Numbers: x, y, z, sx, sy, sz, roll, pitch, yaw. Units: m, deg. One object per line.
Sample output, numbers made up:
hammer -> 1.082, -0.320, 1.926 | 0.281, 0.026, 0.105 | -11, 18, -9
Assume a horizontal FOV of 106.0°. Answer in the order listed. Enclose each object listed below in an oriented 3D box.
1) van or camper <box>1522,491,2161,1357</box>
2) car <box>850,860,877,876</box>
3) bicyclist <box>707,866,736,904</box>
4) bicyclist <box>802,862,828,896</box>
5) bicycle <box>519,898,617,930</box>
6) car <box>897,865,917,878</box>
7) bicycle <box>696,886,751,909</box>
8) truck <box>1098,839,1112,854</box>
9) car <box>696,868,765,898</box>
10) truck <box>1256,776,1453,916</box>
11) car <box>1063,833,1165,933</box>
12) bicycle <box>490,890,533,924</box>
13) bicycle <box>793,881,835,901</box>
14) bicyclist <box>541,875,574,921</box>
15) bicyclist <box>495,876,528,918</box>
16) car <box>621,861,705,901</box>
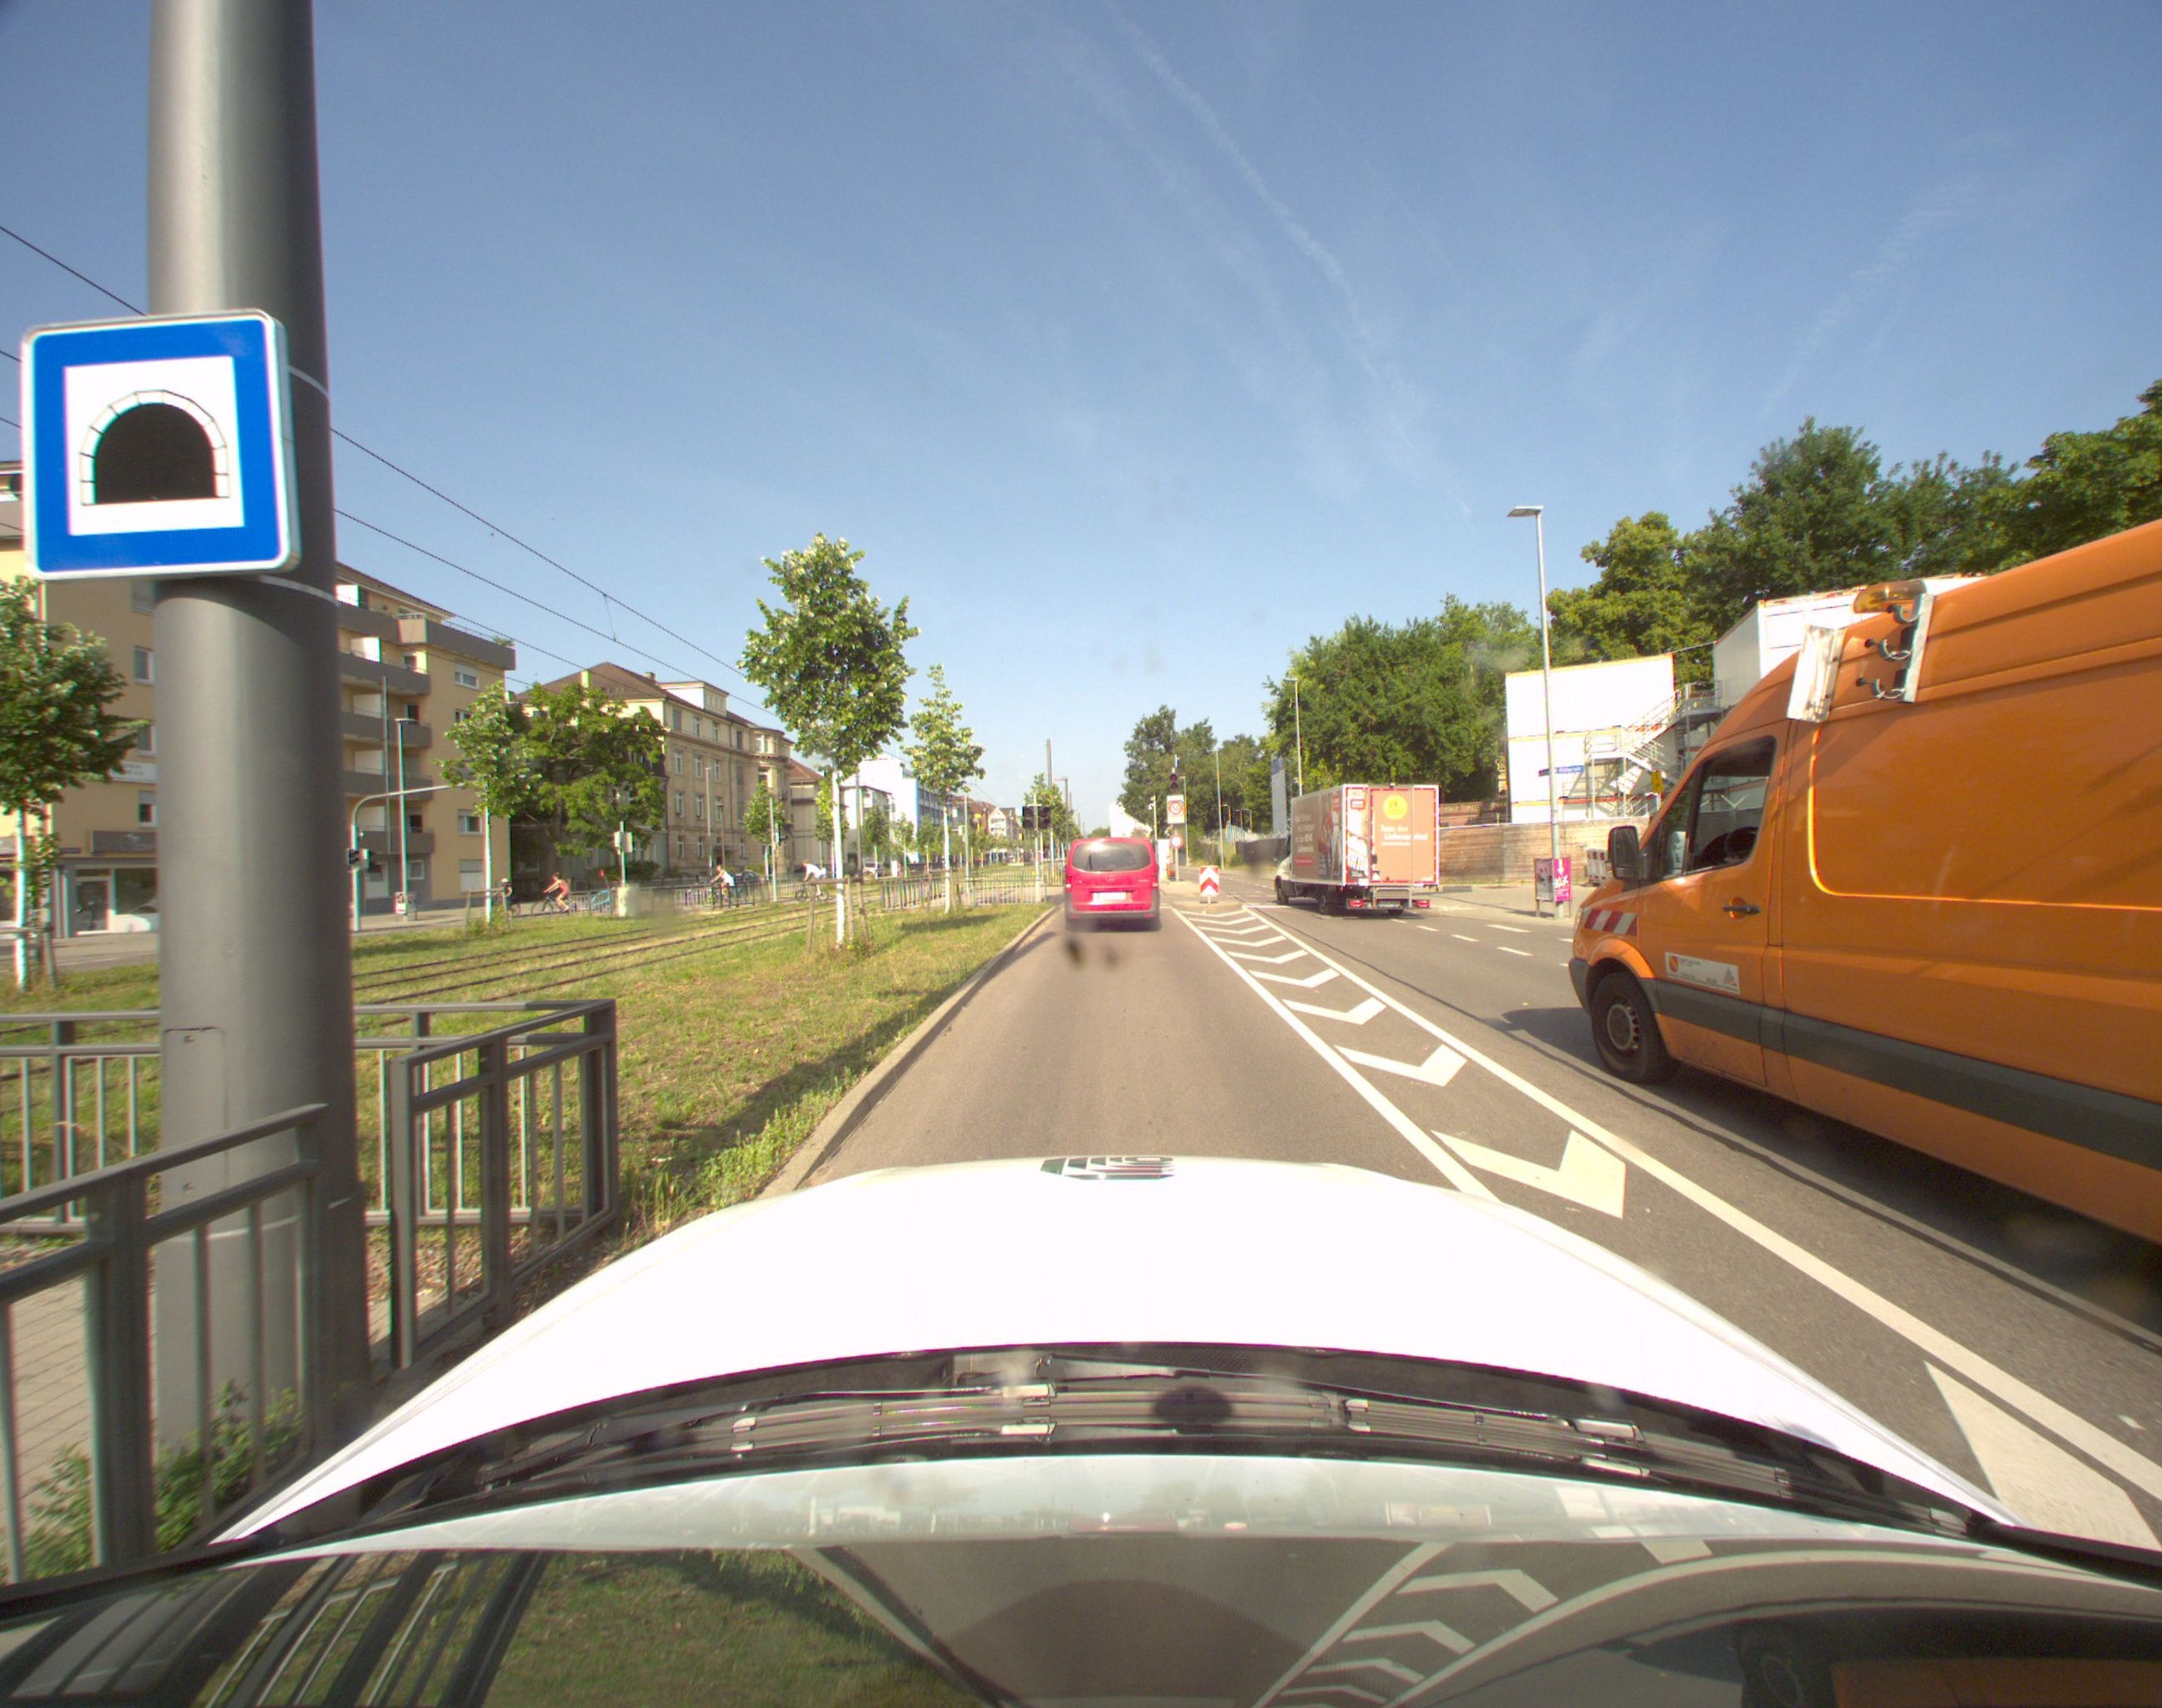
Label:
van or camper -> 4.151, 0.180, 3.201 | 1.976, 2.472, 6.070 | -2, 0, 5
car -> -28.975, 1.906, 108.720 | 2.242, 2.014, 5.261 | 0, -2, 0
bicyclist -> -14.688, 1.269, 33.275 | 0.987, 1.500, 0.616 | -2, 0, -22
bicyclist -> -11.291, 1.059, 34.556 | 0.679, 1.440, 0.811 | -1, -1, 30
bicycle -> -19.212, 2.218, 30.609 | 3.004, 0.965, 0.892 | -2, 0, -27
car -> -24.502, 2.505, 114.716 | 1.910, 1.813, 4.002 | 0, -1, 2
bicycle -> -14.592, 1.763, 33.312 | 2.004, 0.793, 0.624 | -2, 0, -22
truck -> 6.290, -1.977, 211.814 | 3.379, 3.726, 10.452 | -2, 0, 1
car -> -19.832, 1.607, 46.287 | 1.987, 1.513, 4.397 | -2, 0, 0
truck -> 6.835, -0.131, 21.736 | 2.495, 3.061, 7.815 | 0, -1, -1
car -> 0.697, 0.552, 17.223 | 1.893, 1.859, 4.002 | 0, 0, 2
bicycle -> -25.246, 2.334, 36.134 | 0.693, 1.346, 1.755 | -2, 0, -3
bicycle -> -11.299, 1.548, 34.542 | 0.711, 0.798, 1.613 | 0, -1, 29
bicyclist -> -19.560, 1.639, 30.466 | 0.895, 1.628, 0.884 | -2, 0, -27
bicyclist -> -25.257, 1.888, 36.114 | 0.667, 1.805, 1.082 | -2, -1, -3
car -> -23.703, 1.476, 46.411 | 1.987, 2.013, 5.301 | -2, 0, 0
